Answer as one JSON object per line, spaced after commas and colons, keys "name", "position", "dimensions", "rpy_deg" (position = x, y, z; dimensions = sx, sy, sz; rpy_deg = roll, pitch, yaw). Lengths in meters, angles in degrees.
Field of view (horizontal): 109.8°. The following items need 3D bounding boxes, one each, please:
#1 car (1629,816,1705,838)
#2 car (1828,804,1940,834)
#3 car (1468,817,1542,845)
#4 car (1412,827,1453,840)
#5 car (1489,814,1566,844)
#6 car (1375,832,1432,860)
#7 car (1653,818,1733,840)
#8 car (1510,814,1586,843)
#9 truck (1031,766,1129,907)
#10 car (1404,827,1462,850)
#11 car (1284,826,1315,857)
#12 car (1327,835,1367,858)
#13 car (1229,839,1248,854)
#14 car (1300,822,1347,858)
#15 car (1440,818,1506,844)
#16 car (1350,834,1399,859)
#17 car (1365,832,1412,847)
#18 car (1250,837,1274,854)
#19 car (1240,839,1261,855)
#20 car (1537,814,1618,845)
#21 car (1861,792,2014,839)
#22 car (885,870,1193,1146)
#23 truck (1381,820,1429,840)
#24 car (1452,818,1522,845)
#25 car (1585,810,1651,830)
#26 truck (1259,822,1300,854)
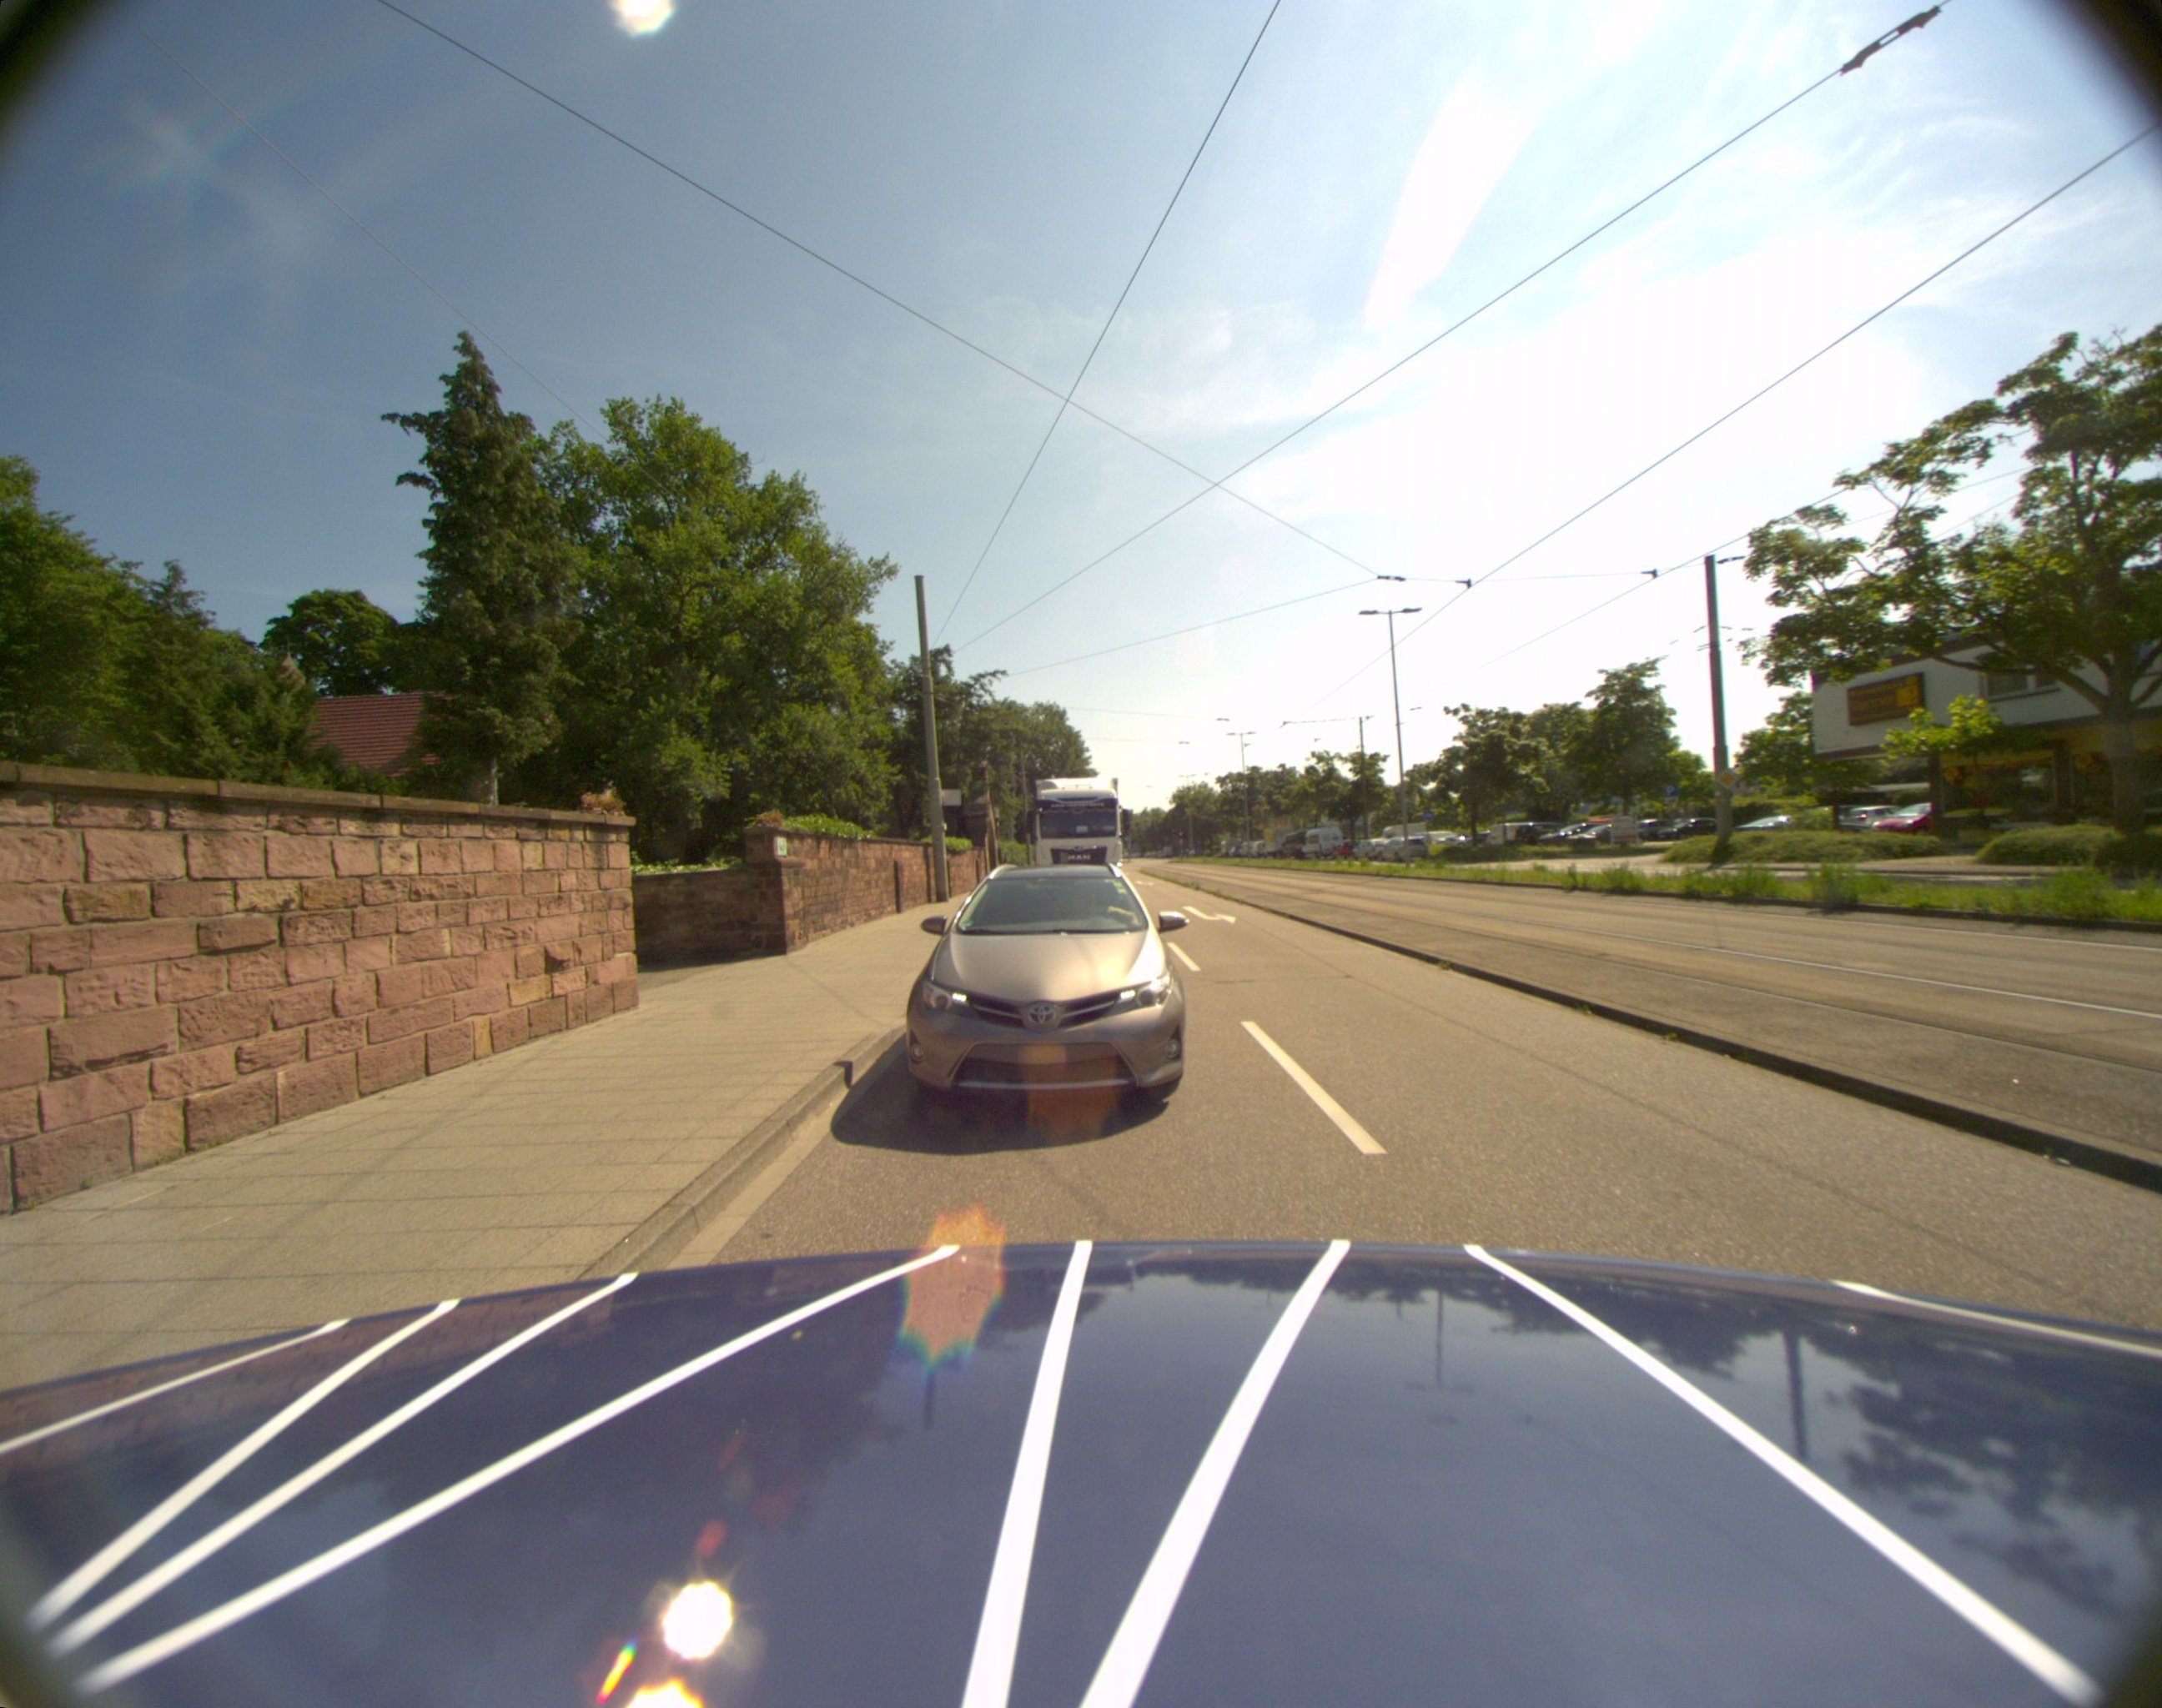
{"name": "car", "position": [43.916, -2.022, 57.011], "dimensions": [4.252, 1.327, 1.676], "rpy_deg": [-3, 0, 2]}
{"name": "car", "position": [44.243, -1.889, 41.910], "dimensions": [4.252, 1.327, 1.676], "rpy_deg": [-3, 0, 2]}
{"name": "car", "position": [30.556, -1.617, 54.825], "dimensions": [4.117, 1.728, 1.990], "rpy_deg": [-3, 0, -2]}
{"name": "car", "position": [43.773, -2.511, 94.721], "dimensions": [4.253, 1.327, 1.676], "rpy_deg": [-3, 0, 1]}
{"name": "car", "position": [30.715, -1.708, 52.354], "dimensions": [4.117, 1.728, 1.990], "rpy_deg": [-3, 0, -2]}
{"name": "car", "position": [20.285, -0.471, 47.969], "dimensions": [1.675, 1.524, 4.256], "rpy_deg": [-6, 0, 1]}
{"name": "car", "position": [43.857, -1.782, 54.516], "dimensions": [4.252, 1.327, 1.676], "rpy_deg": [-3, 0, 2]}
{"name": "car", "position": [30.598, -1.656, 49.848], "dimensions": [3.810, 1.625, 1.676], "rpy_deg": [-3, 0, 2]}
{"name": "truck", "position": [0.073, -0.542, 26.015], "dimensions": [2.628, 3.906, 9.285], "rpy_deg": [-2, 1, 1]}
{"name": "car", "position": [31.196, -1.318, 67.565], "dimensions": [2.594, 1.800, 5.741], "rpy_deg": [-3, 0, 2]}
{"name": "car", "position": [20.096, -1.137, 69.985], "dimensions": [1.502, 2.609, 4.007], "rpy_deg": [-6, 0, 1]}
{"name": "car", "position": [20.389, -0.540, 58.328], "dimensions": [1.675, 1.524, 3.793], "rpy_deg": [-6, 0, 1]}
{"name": "car", "position": [20.663, -0.956, 99.762], "dimensions": [1.502, 1.775, 3.687], "rpy_deg": [-6, 0, 0]}
{"name": "car", "position": [20.251, -1.133, 63.695], "dimensions": [2.062, 2.638, 5.203], "rpy_deg": [-6, 0, 1]}
{"name": "car", "position": [31.254, -1.813, 60.662], "dimensions": [4.117, 1.728, 1.990], "rpy_deg": [-3, 0, -2]}
{"name": "car", "position": [20.532, -0.523, 53.305], "dimensions": [1.675, 1.524, 4.256], "rpy_deg": [-6, 0, 1]}
{"name": "car", "position": [32.349, -1.494, 80.082], "dimensions": [4.253, 1.327, 1.676], "rpy_deg": [-3, 0, 1]}
{"name": "car", "position": [20.689, -0.934, 86.989], "dimensions": [1.502, 1.793, 4.633], "rpy_deg": [-6, 0, 1]}
{"name": "car", "position": [20.970, -0.849, 93.911], "dimensions": [1.502, 1.835, 4.059], "rpy_deg": [-6, 0, 0]}
{"name": "car", "position": [30.534, -1.513, 46.801], "dimensions": [3.810, 1.625, 1.676], "rpy_deg": [-3, 0, 2]}
{"name": "car", "position": [35.274, -1.550, 31.365], "dimensions": [4.252, 1.595, 1.676], "rpy_deg": [-3, 0, 2]}
{"name": "car", "position": [-0.212, 0.898, 6.199], "dimensions": [1.654, 1.374, 4.000], "rpy_deg": [-2, 0, 1]}
{"name": "truck", "position": [44.626, -3.276, 104.750], "dimensions": [5.652, 2.367, 1.990], "rpy_deg": [-3, 1, -2]}
{"name": "car", "position": [30.611, -1.690, 57.331], "dimensions": [4.117, 1.728, 1.990], "rpy_deg": [-3, 0, -2]}
{"name": "car", "position": [43.920, -2.739, 62.195], "dimensions": [4.254, 1.327, 1.676], "rpy_deg": [-3, 0, -1]}
{"name": "truck", "position": [20.459, -1.632, 78.569], "dimensions": [2.508, 2.917, 5.903], "rpy_deg": [-6, 0, 2]}
